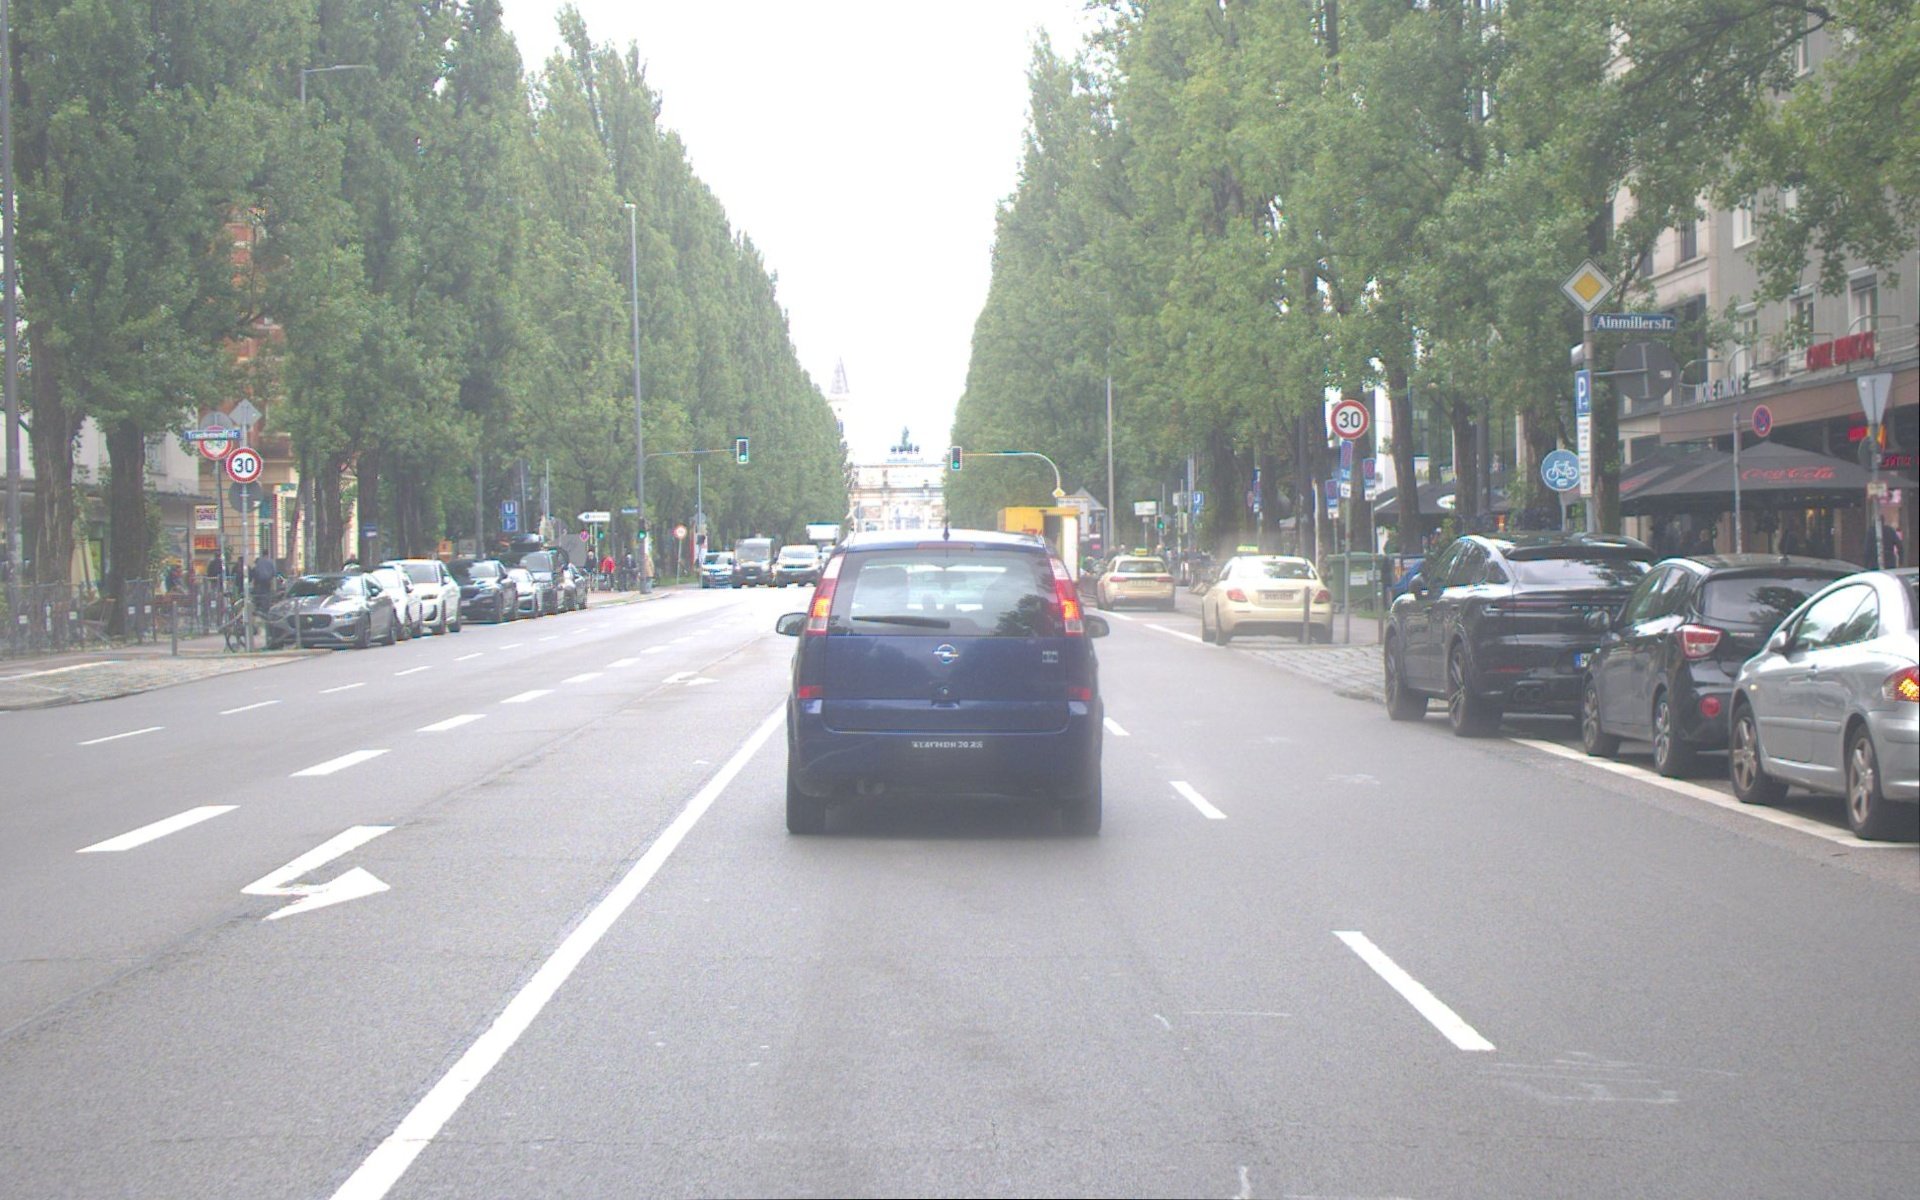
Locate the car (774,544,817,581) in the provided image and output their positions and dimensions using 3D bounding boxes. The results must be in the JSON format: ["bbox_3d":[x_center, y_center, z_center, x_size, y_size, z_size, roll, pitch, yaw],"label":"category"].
[{"bbox_3d":[-7.496,-1.717,157.002,1.835,1.671,3.779,-1,1,-1],"label":"car"}]

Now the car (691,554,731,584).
[{"bbox_3d":[-13.304,-1.672,183.860,1.961,1.543,3.779,-1,1,-1],"label":"car"}]

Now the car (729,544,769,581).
[{"bbox_3d":[-10.369,-1.857,169.084,1.835,1.733,3.779,-1,1,-1],"label":"car"}]

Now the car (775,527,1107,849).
[{"bbox_3d":[-0.156,0.414,19.452,1.681,1.635,4.000,0,1,-2],"label":"car"}]

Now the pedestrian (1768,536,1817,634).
[{"bbox_3d":[13.023,-0.237,53.779,0.640,1.521,0.484,-1,1,-1],"label":"pedestrian"}]

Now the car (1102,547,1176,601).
[{"bbox_3d":[4.698,-0.701,90.654,1.669,1.348,4.104,-1,1,-1],"label":"car"}]

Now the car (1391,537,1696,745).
[{"bbox_3d":[4.800,0.288,28.816,1.797,1.588,4.104,1,1,-1],"label":"car"}]

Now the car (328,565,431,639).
[{"bbox_3d":[-11.803,0.020,70.027,1.546,1.448,3.458,-1,1,-1],"label":"car"}]

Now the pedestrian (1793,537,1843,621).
[{"bbox_3d":[15.096,-0.376,60.487,0.684,1.464,0.678,-1,1,0],"label":"pedestrian"}]

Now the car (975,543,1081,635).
[{"bbox_3d":[1.204,-0.224,62.161,1.706,1.568,4.000,-1,1,-1],"label":"car"}]

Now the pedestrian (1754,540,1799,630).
[{"bbox_3d":[13.847,-0.260,58.317,0.640,1.521,0.484,-1,1,-1],"label":"pedestrian"}]

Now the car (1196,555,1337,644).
[{"bbox_3d":[4.947,-0.028,55.935,1.897,1.358,3.900,-1,1,0],"label":"car"}]

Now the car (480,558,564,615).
[{"bbox_3d":[-12.400,-0.395,97.464,1.961,1.543,3.779,-1,1,-1],"label":"car"}]

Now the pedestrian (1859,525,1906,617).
[{"bbox_3d":[15.395,-0.479,57.354,0.640,1.521,0.484,-1,1,-1],"label":"pedestrian"}]

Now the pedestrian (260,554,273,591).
[{"bbox_3d":[-20.683,-0.828,102.522,0.289,1.086,0.258,-1,1,5],"label":"pedestrian"}]

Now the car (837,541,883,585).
[{"bbox_3d":[-4.090,-1.507,140.908,1.835,1.755,3.779,-1,1,-1],"label":"car"}]

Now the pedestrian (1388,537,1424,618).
[{"bbox_3d":[8.988,-0.451,69.294,0.654,1.621,0.704,1,0,4],"label":"pedestrian"}]

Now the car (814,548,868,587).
[{"bbox_3d":[-4.408,-1.233,128.083,1.961,1.395,3.779,-1,1,-1],"label":"car"}]

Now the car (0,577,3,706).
[{"bbox_3d":[-11.522,0.498,36.670,1.586,1.442,3.391,-1,1,1],"label":"car"}]

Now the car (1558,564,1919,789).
[{"bbox_3d":[5.377,0.475,23.955,1.681,1.410,3.583,1,1,-2],"label":"car"}]

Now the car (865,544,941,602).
[{"bbox_3d":[-1.572,-0.747,93.261,1.993,1.492,4.000,-1,1,-2],"label":"car"}]

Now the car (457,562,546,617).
[{"bbox_3d":[-12.341,-0.293,92.769,1.961,1.395,3.779,-1,1,-1],"label":"car"}]

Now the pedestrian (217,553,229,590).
[{"bbox_3d":[-22.067,-0.848,102.954,0.289,1.086,0.258,-1,1,5],"label":"pedestrian"}]

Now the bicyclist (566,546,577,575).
[{"bbox_3d":[-22.647,-2.309,200.407,0.619,1.707,0.564,-1,1,-7],"label":"bicyclist"}]

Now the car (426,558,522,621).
[{"bbox_3d":[-12.244,-0.281,86.784,1.961,1.525,4.000,-1,1,-2],"label":"car"}]

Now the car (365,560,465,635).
[{"bbox_3d":[-11.850,-0.068,74.879,1.654,1.556,3.458,-1,1,-1],"label":"car"}]

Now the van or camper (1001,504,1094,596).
[{"bbox_3d":[2.535,-1.477,101.197,2.476,2.572,5.844,-1,1,-1],"label":"van or camper"}]

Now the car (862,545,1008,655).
[{"bbox_3d":[-0.406,-0.037,49.609,1.993,1.492,4.000,-1,1,-2],"label":"car"}]

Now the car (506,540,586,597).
[{"bbox_3d":[-12.461,-0.948,103.638,1.993,1.656,4.000,-1,1,-2],"label":"car"}]

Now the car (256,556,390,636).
[{"bbox_3d":[-11.831,-0.095,64.016,1.830,1.415,3.811,-1,1,-1],"label":"car"}]

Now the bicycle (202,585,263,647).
[{"bbox_3d":[-12.348,0.265,58.408,0.665,1.002,2.462,-1,1,-4],"label":"bicycle"}]

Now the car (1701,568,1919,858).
[{"bbox_3d":[5.426,0.550,18.936,1.670,1.401,4.128,1,1,-2],"label":"car"}]
